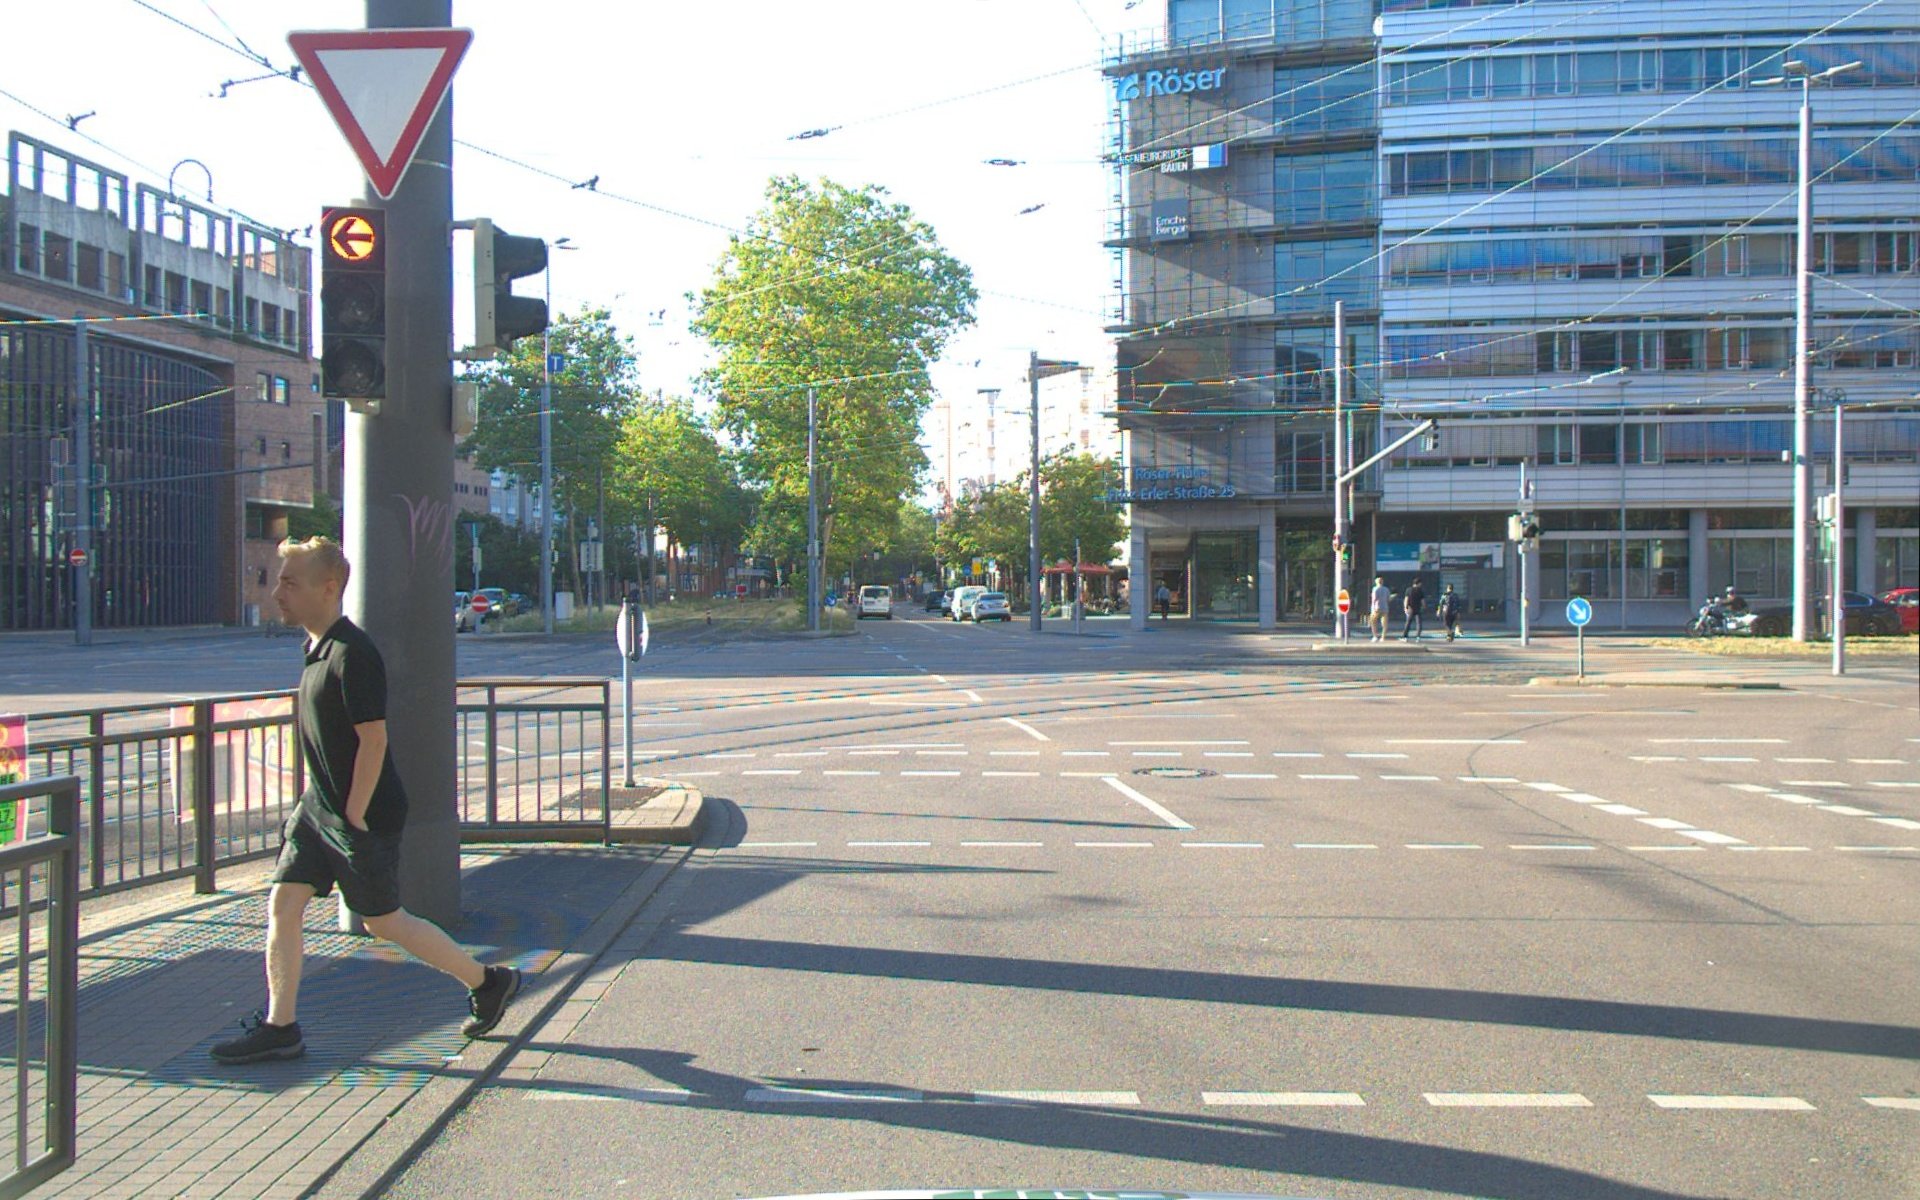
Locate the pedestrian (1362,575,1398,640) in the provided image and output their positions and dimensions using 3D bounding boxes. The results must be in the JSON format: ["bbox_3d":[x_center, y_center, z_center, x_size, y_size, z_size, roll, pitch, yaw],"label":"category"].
[{"bbox_3d":[12.022,0.211,47.330,0.845,1.820,0.872,-1,0,5],"label":"pedestrian"}]

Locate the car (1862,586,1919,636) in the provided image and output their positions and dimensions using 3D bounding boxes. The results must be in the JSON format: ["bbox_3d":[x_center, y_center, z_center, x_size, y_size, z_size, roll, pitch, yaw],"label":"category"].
[{"bbox_3d":[29.461,0.275,49.519,3.903,1.418,1.786,-2,0,4],"label":"car"}]

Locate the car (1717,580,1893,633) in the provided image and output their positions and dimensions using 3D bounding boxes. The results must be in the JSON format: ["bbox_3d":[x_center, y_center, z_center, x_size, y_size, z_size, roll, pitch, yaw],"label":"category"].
[{"bbox_3d":[23.946,0.171,47.004,4.070,1.423,1.786,-1,0,4],"label":"car"}]

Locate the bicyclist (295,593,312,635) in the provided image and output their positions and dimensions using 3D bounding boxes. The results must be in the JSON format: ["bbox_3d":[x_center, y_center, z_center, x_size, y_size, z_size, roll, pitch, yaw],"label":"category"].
[{"bbox_3d":[-25.942,0.538,65.379,0.449,1.631,0.581,-1,0,-1],"label":"bicyclist"}]

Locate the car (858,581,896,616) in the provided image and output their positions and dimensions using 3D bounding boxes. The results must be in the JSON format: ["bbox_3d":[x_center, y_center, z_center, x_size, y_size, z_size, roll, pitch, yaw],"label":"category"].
[{"bbox_3d":[-4.651,-0.078,93.232,1.921,1.881,5.329,-1,0,-1],"label":"car"}]

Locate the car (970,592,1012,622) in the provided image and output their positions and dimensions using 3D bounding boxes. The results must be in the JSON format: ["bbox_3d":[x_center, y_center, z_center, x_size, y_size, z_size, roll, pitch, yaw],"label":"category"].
[{"bbox_3d":[1.538,0.336,82.786,1.953,1.400,3.999,-1,0,-1],"label":"car"}]

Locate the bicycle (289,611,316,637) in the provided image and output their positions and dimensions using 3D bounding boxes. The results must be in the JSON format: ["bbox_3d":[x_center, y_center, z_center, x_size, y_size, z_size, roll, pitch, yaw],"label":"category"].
[{"bbox_3d":[-25.944,0.950,65.272,0.463,0.980,1.575,-1,0,-1],"label":"bicycle"}]

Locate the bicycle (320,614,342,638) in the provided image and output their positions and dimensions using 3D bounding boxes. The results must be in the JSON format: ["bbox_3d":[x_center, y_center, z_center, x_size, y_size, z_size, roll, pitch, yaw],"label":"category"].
[{"bbox_3d":[-27.001,1.109,70.989,0.442,0.980,1.347,-1,0,-1],"label":"bicycle"}]

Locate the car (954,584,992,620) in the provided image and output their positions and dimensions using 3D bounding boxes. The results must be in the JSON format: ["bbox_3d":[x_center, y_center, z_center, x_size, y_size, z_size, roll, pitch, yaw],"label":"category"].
[{"bbox_3d":[0.689,0.116,89.571,1.953,1.892,3.999,-1,0,-1],"label":"car"}]

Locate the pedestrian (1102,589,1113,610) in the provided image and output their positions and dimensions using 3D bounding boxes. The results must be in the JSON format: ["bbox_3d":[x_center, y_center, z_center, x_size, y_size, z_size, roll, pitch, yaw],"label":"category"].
[{"bbox_3d":[9.481,-0.040,106.429,0.565,1.311,0.910,-1,0,-1],"label":"pedestrian"}]

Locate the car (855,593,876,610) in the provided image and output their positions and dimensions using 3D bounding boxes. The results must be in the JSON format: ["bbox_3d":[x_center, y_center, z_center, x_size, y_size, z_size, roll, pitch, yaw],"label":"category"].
[{"bbox_3d":[-8.412,0.168,146.847,1.762,1.467,3.998,1,0,-3],"label":"car"}]

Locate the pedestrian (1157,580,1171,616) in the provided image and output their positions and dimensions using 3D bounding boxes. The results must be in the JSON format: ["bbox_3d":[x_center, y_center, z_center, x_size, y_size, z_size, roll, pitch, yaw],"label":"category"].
[{"bbox_3d":[8.933,-0.082,72.341,0.599,1.534,0.579,-1,0,6],"label":"pedestrian"}]

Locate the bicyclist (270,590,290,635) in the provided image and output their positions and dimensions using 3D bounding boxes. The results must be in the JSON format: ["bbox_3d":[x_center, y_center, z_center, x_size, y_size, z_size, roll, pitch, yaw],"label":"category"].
[{"bbox_3d":[-26.796,0.480,65.170,0.525,1.761,0.581,-1,0,-1],"label":"bicyclist"}]

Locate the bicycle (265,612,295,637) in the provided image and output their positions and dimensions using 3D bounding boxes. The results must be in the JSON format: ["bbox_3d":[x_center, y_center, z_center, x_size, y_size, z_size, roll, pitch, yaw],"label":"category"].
[{"bbox_3d":[-26.785,0.961,65.152,0.531,0.980,1.586,-1,0,-1],"label":"bicycle"}]

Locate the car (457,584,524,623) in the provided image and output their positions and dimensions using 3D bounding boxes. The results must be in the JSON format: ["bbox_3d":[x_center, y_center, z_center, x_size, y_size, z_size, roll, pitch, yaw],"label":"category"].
[{"bbox_3d":[-21.120,0.144,74.592,1.953,1.668,3.999,-1,0,-2],"label":"car"}]

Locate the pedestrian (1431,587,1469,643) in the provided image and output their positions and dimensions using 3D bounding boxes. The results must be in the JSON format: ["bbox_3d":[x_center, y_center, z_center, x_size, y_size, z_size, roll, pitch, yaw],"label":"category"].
[{"bbox_3d":[14.034,0.416,47.390,0.928,1.591,0.897,-1,0,9],"label":"pedestrian"}]

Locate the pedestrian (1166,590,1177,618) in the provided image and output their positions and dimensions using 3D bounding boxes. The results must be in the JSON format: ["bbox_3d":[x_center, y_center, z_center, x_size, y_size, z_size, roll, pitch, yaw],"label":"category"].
[{"bbox_3d":[11.694,0.233,91.395,0.599,1.534,0.579,-1,0,7],"label":"pedestrian"}]

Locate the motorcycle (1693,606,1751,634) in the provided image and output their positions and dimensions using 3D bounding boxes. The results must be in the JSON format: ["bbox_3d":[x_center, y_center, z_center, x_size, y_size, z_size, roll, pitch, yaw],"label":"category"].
[{"bbox_3d":[22.941,0.608,49.808,1.535,0.824,0.467,-1,0,3],"label":"motorcycle"}]

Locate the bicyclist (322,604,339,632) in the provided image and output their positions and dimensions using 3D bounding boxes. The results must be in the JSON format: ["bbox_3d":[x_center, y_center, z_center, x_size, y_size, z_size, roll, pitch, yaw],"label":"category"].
[{"bbox_3d":[-27.060,0.767,71.080,0.495,1.199,0.581,-1,0,-1],"label":"bicyclist"}]

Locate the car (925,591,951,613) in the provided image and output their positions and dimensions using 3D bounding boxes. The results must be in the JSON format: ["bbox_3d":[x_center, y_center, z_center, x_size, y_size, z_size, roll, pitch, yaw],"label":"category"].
[{"bbox_3d":[-1.677,0.130,126.631,1.953,1.646,3.999,-1,0,-1],"label":"car"}]

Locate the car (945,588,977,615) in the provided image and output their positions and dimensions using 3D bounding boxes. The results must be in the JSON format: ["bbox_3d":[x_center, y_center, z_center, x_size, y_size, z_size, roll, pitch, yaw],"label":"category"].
[{"bbox_3d":[0.038,0.070,105.208,1.953,1.646,3.999,-1,0,-1],"label":"car"}]

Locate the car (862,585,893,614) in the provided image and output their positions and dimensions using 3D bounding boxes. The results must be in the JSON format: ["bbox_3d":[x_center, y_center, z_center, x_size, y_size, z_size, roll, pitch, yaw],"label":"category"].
[{"bbox_3d":[-5.593,-0.063,113.058,1.953,1.945,3.999,-1,0,-1],"label":"car"}]

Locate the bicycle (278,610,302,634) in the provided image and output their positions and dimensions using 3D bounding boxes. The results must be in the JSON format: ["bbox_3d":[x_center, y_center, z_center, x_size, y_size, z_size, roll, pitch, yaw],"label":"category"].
[{"bbox_3d":[-27.666,0.907,68.287,0.458,0.980,1.320,-1,0,-1],"label":"bicycle"}]

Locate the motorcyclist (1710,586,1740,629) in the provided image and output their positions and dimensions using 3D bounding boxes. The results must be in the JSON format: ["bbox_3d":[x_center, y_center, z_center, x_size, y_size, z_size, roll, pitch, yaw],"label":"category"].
[{"bbox_3d":[23.043,0.220,49.823,0.697,1.298,0.460,-1,0,3],"label":"motorcyclist"}]

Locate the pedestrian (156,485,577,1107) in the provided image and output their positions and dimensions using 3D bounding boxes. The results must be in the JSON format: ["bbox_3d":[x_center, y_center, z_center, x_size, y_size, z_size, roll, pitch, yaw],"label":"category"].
[{"bbox_3d":[-1.915,0.559,5.382,1.084,1.779,0.731,0,0,-45],"label":"pedestrian"}]

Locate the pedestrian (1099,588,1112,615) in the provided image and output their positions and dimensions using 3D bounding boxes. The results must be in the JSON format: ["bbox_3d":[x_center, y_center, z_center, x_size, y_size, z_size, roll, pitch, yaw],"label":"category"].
[{"bbox_3d":[9.246,0.093,105.097,0.729,1.744,0.612,-1,0,-1],"label":"pedestrian"}]

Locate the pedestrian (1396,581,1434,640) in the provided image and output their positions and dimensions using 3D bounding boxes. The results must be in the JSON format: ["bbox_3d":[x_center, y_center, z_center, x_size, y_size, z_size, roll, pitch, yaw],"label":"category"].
[{"bbox_3d":[13.301,0.301,48.369,0.893,1.714,1.036,-1,0,6],"label":"pedestrian"}]

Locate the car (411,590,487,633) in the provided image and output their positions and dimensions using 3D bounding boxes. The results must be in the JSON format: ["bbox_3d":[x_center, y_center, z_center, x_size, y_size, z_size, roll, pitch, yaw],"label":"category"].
[{"bbox_3d":[-20.666,0.444,67.033,1.953,1.668,3.999,-1,0,-2],"label":"car"}]

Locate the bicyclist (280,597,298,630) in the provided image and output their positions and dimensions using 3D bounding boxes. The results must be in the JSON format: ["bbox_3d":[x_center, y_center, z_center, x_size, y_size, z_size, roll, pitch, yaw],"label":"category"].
[{"bbox_3d":[-27.675,0.562,68.260,0.495,1.327,0.581,-1,0,-1],"label":"bicyclist"}]

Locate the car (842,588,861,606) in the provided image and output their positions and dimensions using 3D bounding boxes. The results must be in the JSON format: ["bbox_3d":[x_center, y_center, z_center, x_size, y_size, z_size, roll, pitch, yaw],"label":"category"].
[{"bbox_3d":[-12.527,-0.363,191.166,1.953,2.049,3.999,-1,0,-1],"label":"car"}]
